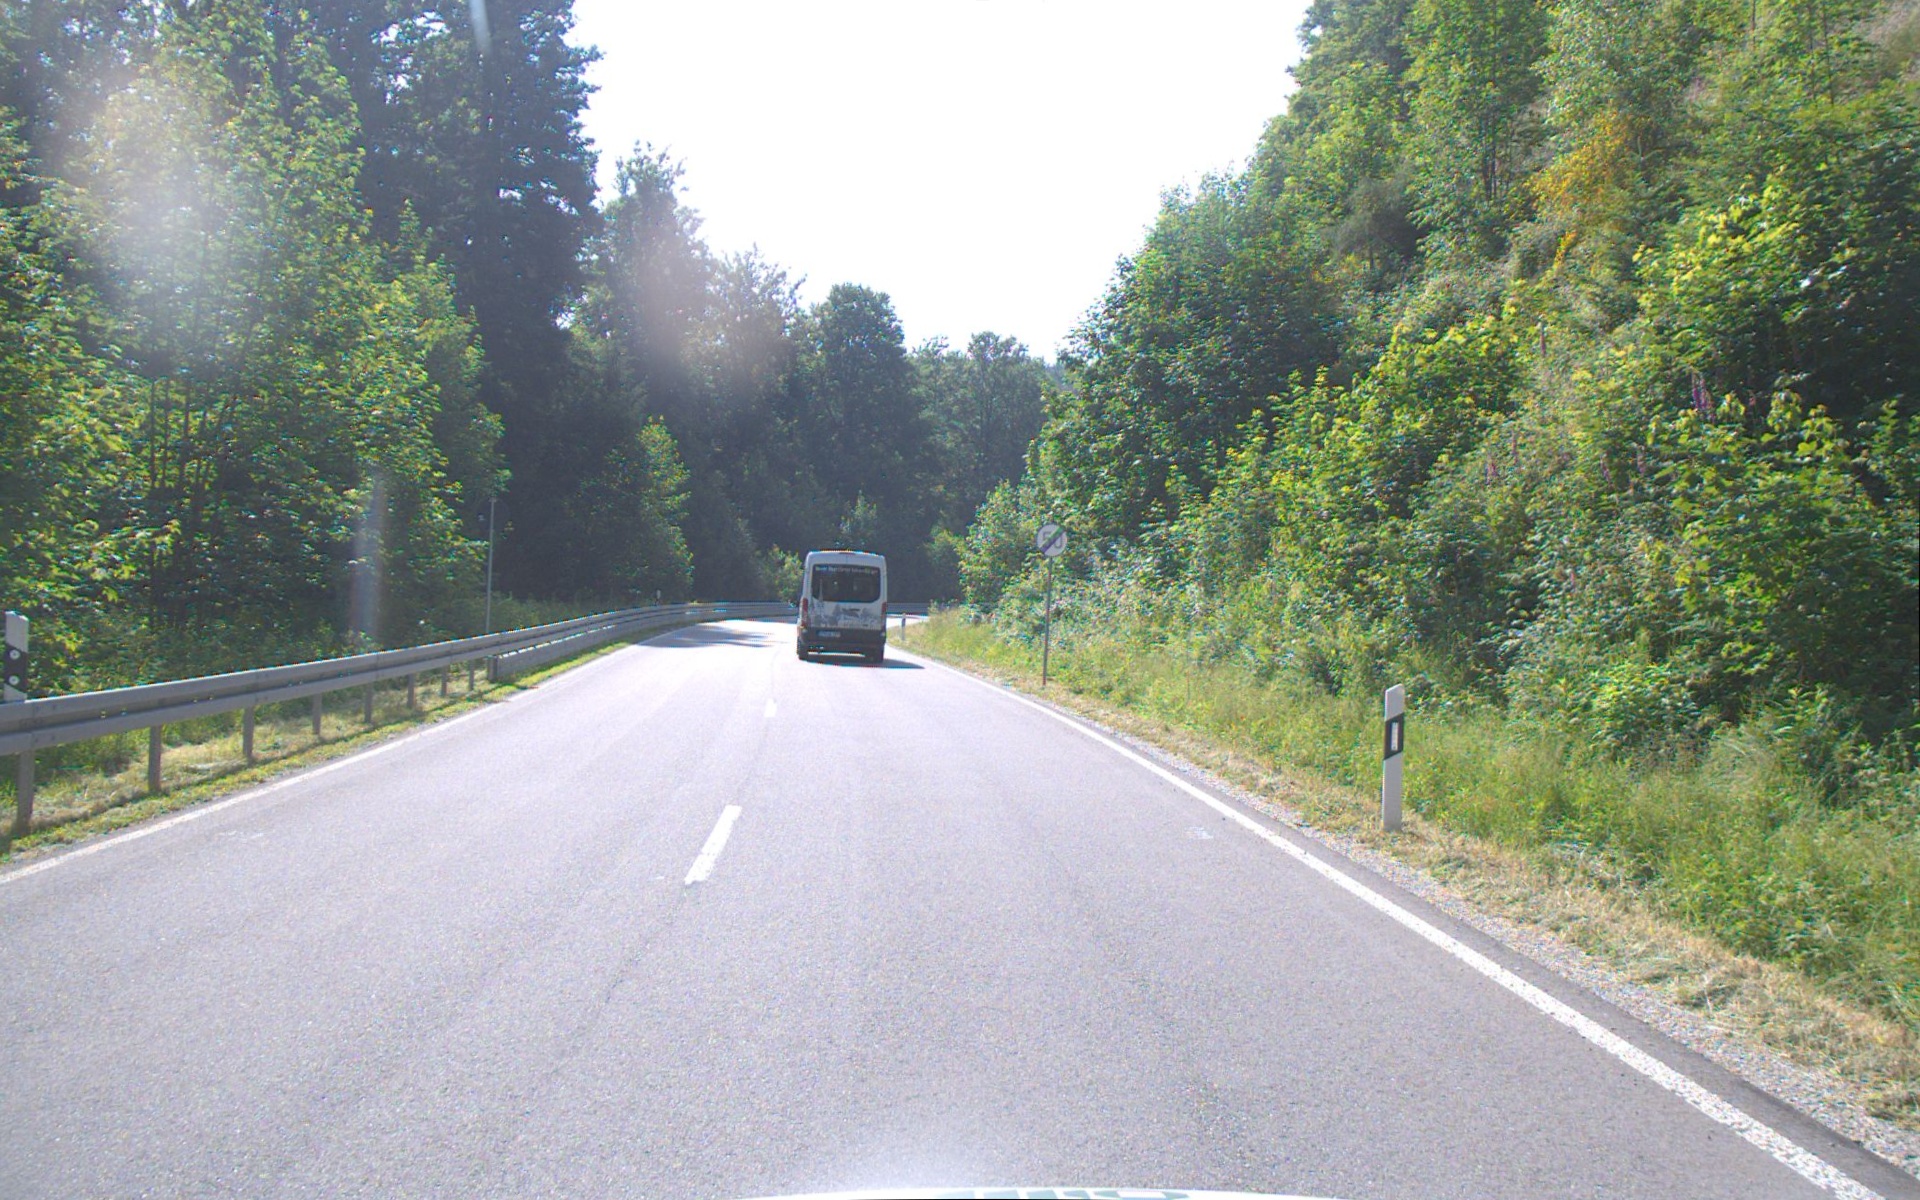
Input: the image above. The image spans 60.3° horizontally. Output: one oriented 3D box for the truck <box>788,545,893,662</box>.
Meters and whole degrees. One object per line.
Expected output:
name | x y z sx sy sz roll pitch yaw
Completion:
truck | -2.932 0.057 39.602 2.076 2.542 5.349 2 0 -8
